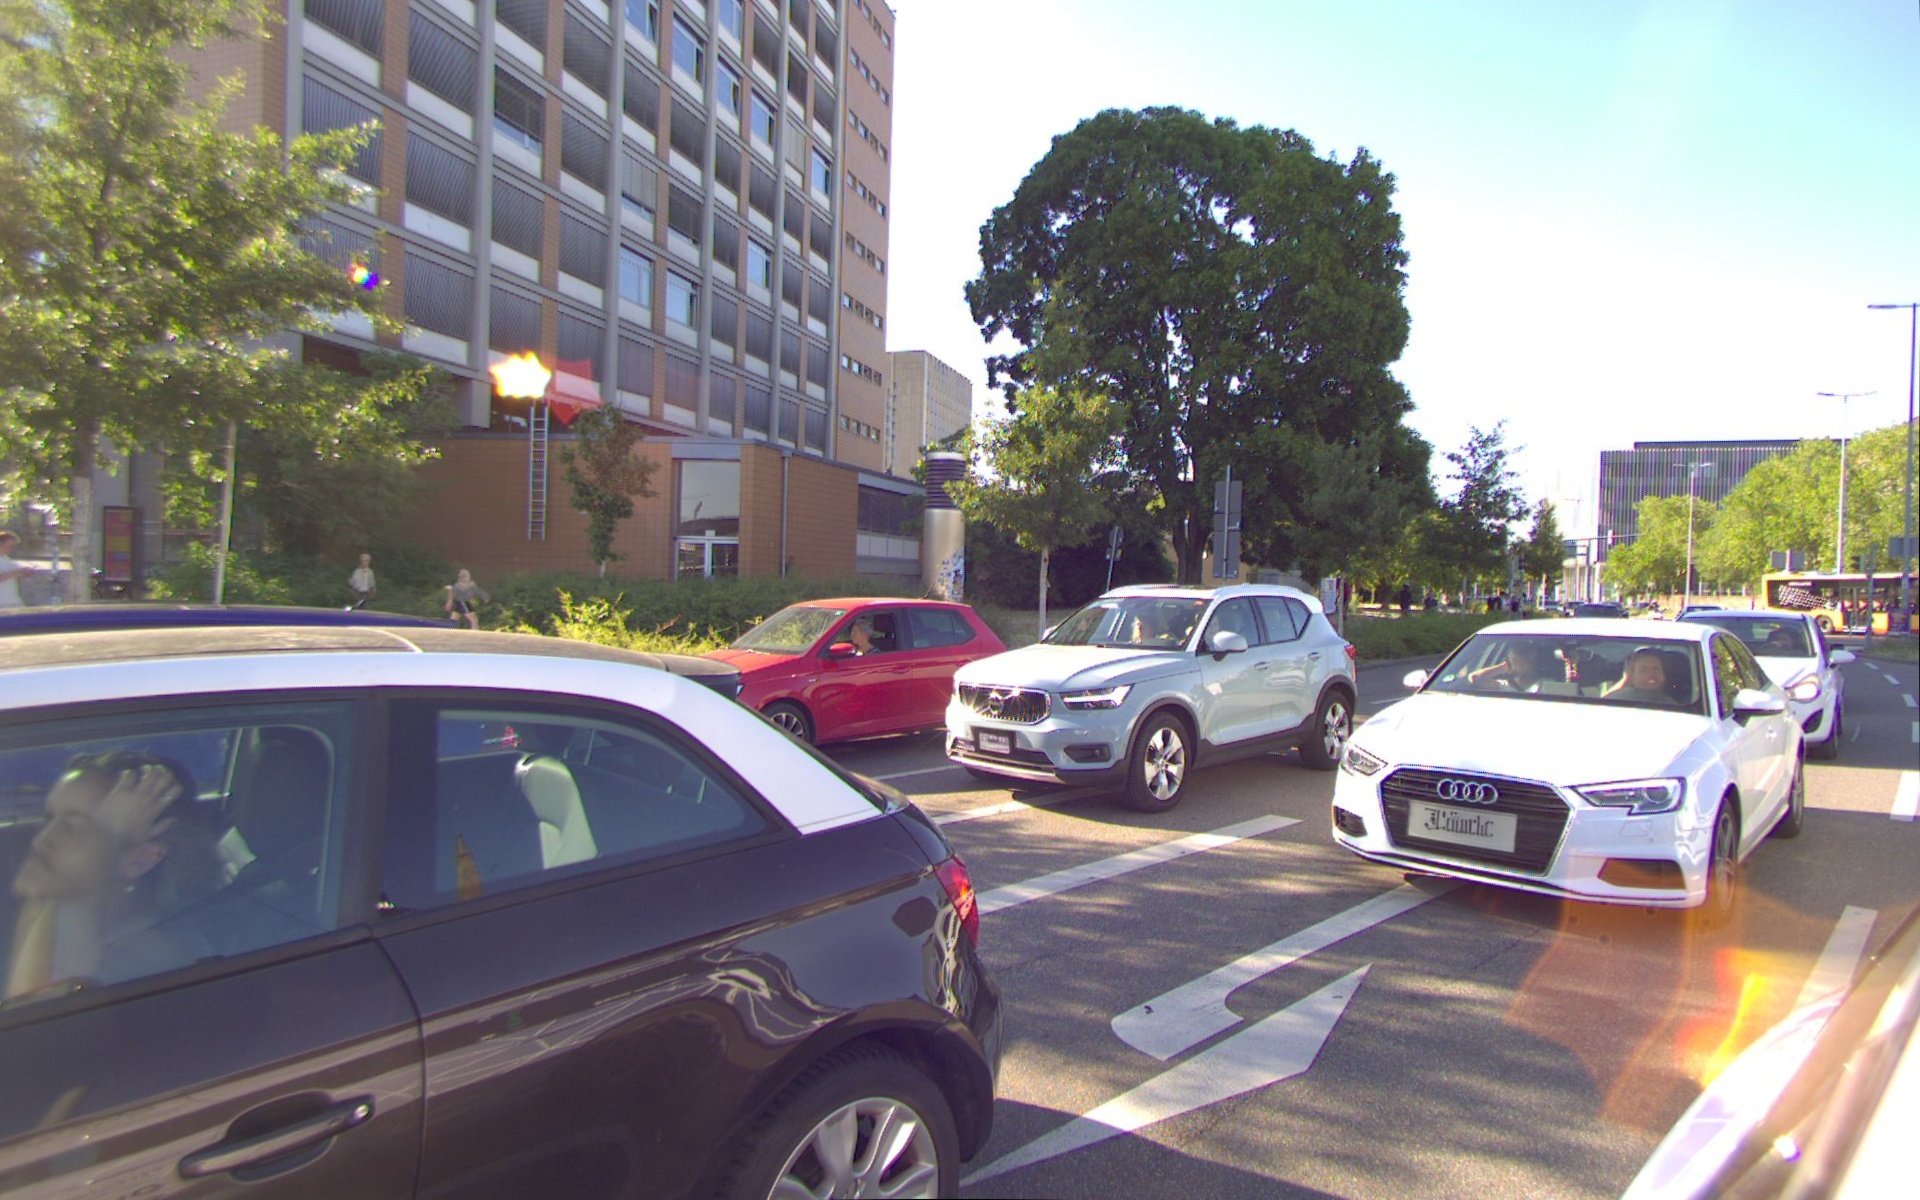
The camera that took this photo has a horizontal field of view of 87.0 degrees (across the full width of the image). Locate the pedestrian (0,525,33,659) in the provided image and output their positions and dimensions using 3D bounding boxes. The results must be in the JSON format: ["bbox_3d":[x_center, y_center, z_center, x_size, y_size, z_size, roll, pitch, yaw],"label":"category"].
[{"bbox_3d":[-12.205,-0.113,12.884,0.592,1.660,0.678,0,4,-43],"label":"pedestrian"}]

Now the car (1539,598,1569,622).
[{"bbox_3d":[46.543,0.756,79.399,1.730,1.727,3.962,2,1,27],"label":"car"}]

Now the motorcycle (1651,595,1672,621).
[{"bbox_3d":[36.645,0.382,52.882,0.712,1.321,2.210,0,0,31],"label":"motorcycle"}]

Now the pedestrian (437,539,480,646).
[{"bbox_3d":[-9.067,-0.138,18.314,0.681,1.910,0.465,0,0,-24],"label":"pedestrian"}]

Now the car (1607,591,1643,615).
[{"bbox_3d":[46.898,0.176,71.446,1.731,1.564,3.960,2,1,29],"label":"car"}]

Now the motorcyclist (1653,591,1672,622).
[{"bbox_3d":[36.627,0.325,52.766,0.705,1.610,0.683,0,0,30],"label":"motorcyclist"}]

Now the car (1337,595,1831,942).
[{"bbox_3d":[3.943,0.691,6.119,3.769,1.422,1.625,-1,0,-43],"label":"car"}]

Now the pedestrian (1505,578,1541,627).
[{"bbox_3d":[24.097,0.098,43.320,1.137,2.039,1.268,0,0,39],"label":"pedestrian"}]

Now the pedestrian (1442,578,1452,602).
[{"bbox_3d":[32.435,-0.675,67.355,0.543,1.549,0.598,0,0,30],"label":"pedestrian"}]

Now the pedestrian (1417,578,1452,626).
[{"bbox_3d":[17.723,0.060,37.778,1.005,1.742,0.873,0,0,39],"label":"pedestrian"}]

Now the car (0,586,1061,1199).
[{"bbox_3d":[-1.791,0.698,1.514,3.930,1.422,1.626,-1,0,-41],"label":"car"}]

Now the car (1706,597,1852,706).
[{"bbox_3d":[13.109,0.712,16.120,1.622,1.478,3.981,0,1,42],"label":"car"}]

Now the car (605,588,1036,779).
[{"bbox_3d":[-1.194,0.631,9.844,3.974,1.478,1.625,-1,0,-43],"label":"car"}]

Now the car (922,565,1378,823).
[{"bbox_3d":[1.771,0.571,8.459,4.153,1.641,1.625,-1,0,-43],"label":"car"}]

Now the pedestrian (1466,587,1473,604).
[{"bbox_3d":[51.188,-0.453,101.676,0.475,1.706,0.399,1,1,-41],"label":"pedestrian"}]

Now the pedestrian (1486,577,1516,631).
[{"bbox_3d":[20.963,0.154,39.220,0.891,2.039,0.870,0,0,39],"label":"pedestrian"}]

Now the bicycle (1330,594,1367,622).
[{"bbox_3d":[15.060,0.295,39.196,0.657,0.975,2.005,2,2,41],"label":"bicycle"}]

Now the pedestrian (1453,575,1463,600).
[{"bbox_3d":[33.009,-0.805,67.084,0.543,1.627,0.598,0,0,30],"label":"pedestrian"}]

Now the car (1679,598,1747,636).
[{"bbox_3d":[31.645,0.658,42.640,1.741,1.478,4.146,0,0,29],"label":"car"}]

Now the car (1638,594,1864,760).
[{"bbox_3d":[8.871,0.690,11.224,1.623,1.478,3.979,0,1,43],"label":"car"}]

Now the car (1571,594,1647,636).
[{"bbox_3d":[24.844,0.526,38.688,1.750,1.478,4.123,0,1,43],"label":"car"}]

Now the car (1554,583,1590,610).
[{"bbox_3d":[40.180,-0.253,66.504,1.730,1.727,3.962,2,1,27],"label":"car"}]

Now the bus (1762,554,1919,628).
[{"bbox_3d":[43.580,-0.414,46.164,3.025,3.252,12.559,0,1,-6],"label":"bus"}]

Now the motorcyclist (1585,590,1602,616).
[{"bbox_3d":[32.973,0.159,52.653,0.714,1.321,0.726,0,0,36],"label":"motorcyclist"}]

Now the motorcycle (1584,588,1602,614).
[{"bbox_3d":[32.941,0.016,52.634,0.713,1.321,2.207,0,0,35],"label":"motorcycle"}]

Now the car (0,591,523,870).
[{"bbox_3d":[-5.208,0.666,6.090,4.435,1.422,1.725,-1,1,-43],"label":"car"}]

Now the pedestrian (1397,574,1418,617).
[{"bbox_3d":[16.961,-0.188,38.339,0.593,1.615,0.586,0,0,41],"label":"pedestrian"}]

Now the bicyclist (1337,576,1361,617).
[{"bbox_3d":[15.090,-0.136,39.225,0.615,1.580,0.858,0,0,41],"label":"bicyclist"}]

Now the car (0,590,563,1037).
[{"bbox_3d":[-3.740,0.686,3.741,3.930,1.422,1.626,-1,0,-41],"label":"car"}]
